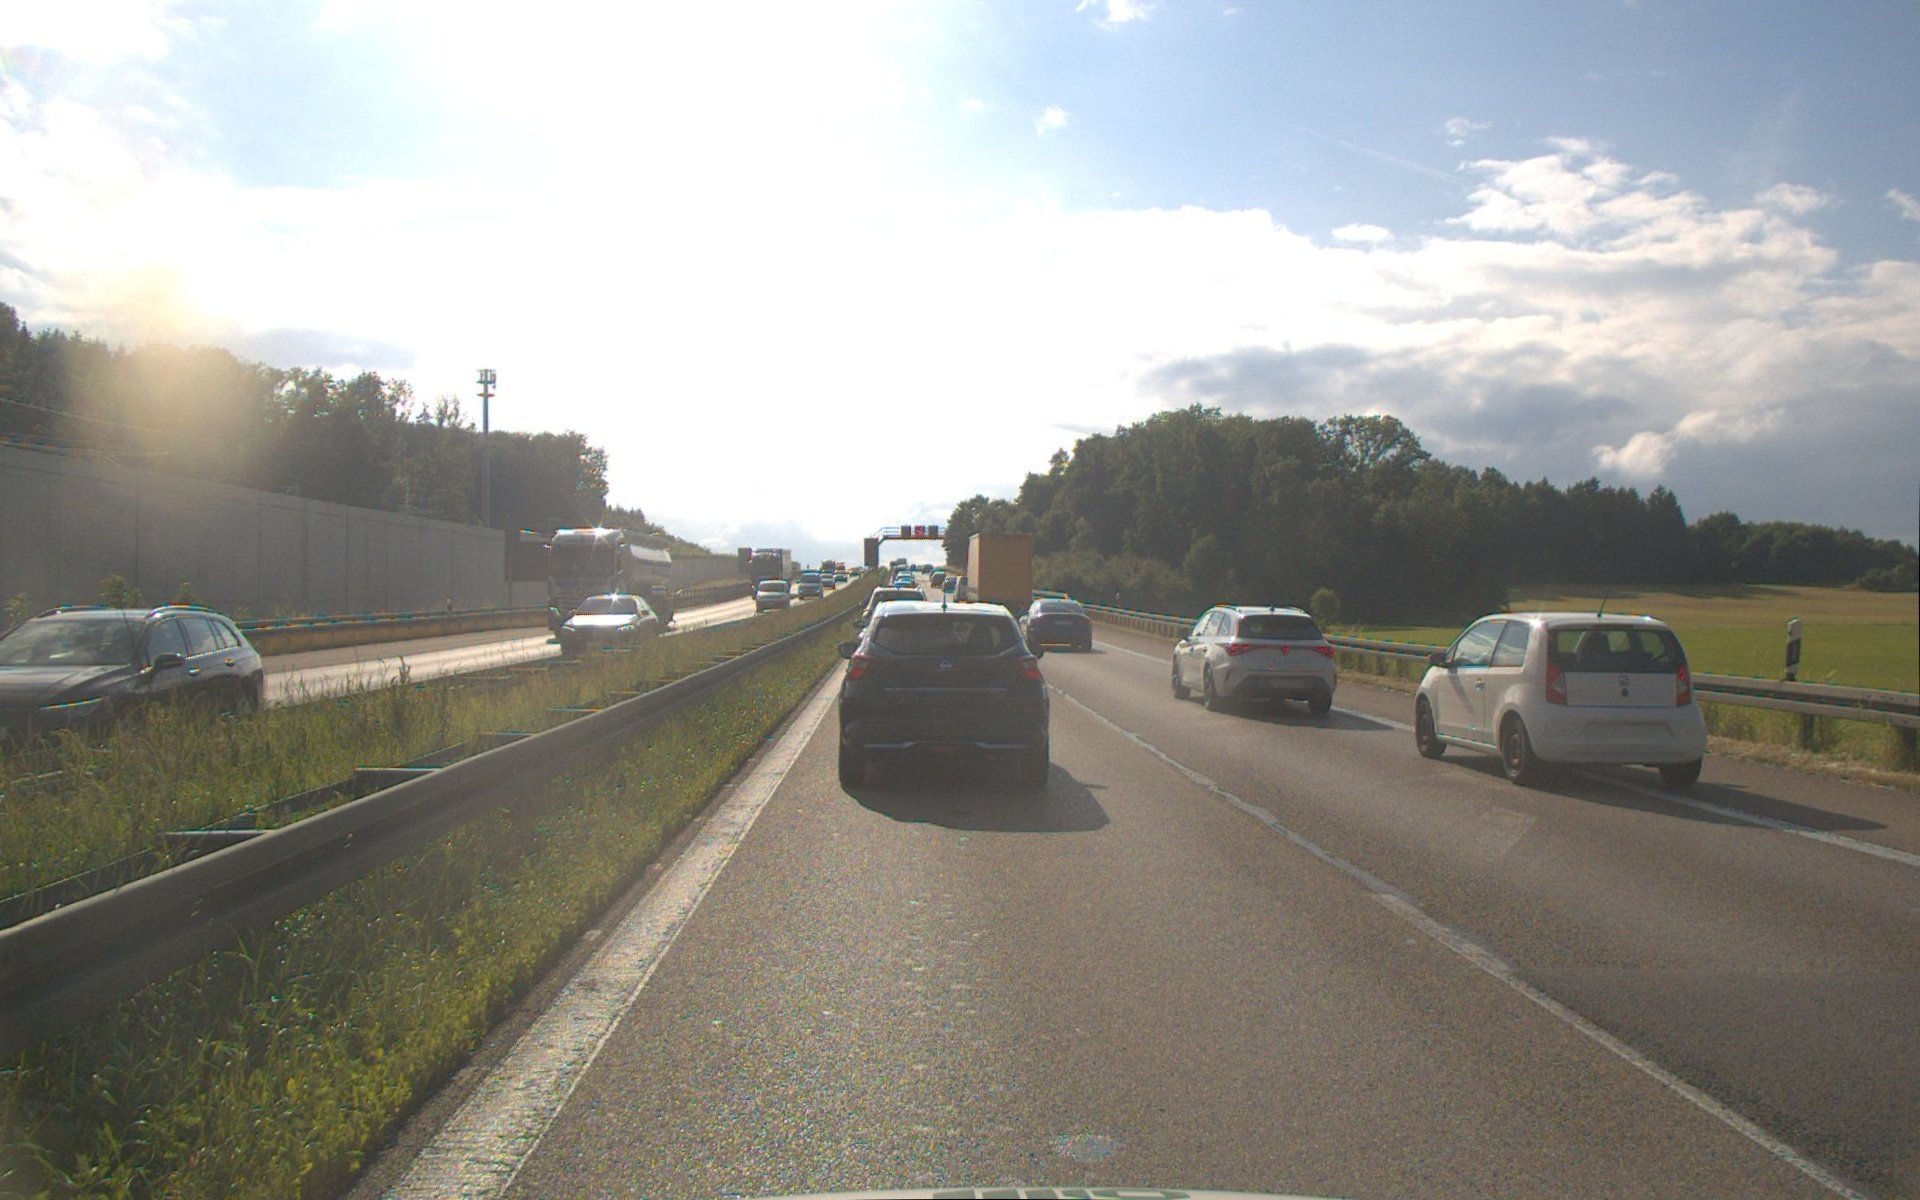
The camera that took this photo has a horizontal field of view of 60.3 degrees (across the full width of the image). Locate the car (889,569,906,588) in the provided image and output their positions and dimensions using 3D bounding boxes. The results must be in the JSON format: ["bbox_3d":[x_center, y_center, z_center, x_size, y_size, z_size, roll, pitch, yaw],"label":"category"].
[{"bbox_3d":[-7.402,-2.515,195.207,1.954,2.049,3.998,1,0,-3],"label":"car"}]

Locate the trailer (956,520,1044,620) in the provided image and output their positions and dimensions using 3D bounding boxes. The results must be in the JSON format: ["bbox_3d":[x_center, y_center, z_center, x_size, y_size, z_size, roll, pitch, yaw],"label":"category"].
[{"bbox_3d":[1.830,-1.321,82.163,3.477,4.535,12.715,1,0,-2],"label":"trailer"}]

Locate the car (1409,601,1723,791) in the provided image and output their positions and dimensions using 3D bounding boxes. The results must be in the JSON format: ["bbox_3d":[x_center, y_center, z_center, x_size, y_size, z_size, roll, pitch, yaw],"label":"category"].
[{"bbox_3d":[5.496,0.802,15.429,1.518,1.521,3.376,1,0,-3],"label":"car"}]

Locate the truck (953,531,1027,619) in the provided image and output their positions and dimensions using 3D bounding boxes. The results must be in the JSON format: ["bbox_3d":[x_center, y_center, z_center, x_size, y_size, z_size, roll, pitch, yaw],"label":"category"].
[{"bbox_3d":[1.541,-1.262,88.911,3.510,4.456,6.684,1,-1,-3],"label":"truck"}]

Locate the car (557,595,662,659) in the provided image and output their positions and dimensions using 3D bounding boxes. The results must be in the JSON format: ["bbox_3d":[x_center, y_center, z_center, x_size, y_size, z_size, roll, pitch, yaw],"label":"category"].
[{"bbox_3d":[-8.999,0.680,42.841,1.766,1.543,4.689,1,0,-1],"label":"car"}]

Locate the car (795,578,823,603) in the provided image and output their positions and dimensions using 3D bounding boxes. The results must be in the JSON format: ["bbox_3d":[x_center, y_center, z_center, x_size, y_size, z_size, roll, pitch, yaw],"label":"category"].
[{"bbox_3d":[-12.068,-0.746,132.406,1.953,1.916,4.785,-2,0,-2],"label":"car"}]

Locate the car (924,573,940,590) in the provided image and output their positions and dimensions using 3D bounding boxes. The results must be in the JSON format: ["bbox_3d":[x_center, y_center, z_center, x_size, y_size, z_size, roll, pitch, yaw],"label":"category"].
[{"bbox_3d":[-3.558,-2.398,210.514,1.954,2.049,3.998,1,0,-3],"label":"car"}]

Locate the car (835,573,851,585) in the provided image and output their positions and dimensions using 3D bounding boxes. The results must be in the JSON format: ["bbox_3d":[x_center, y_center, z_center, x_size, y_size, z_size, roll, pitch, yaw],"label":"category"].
[{"bbox_3d":[-14.799,-2.637,209.984,1.864,1.490,4.181,1,0,-2],"label":"car"}]

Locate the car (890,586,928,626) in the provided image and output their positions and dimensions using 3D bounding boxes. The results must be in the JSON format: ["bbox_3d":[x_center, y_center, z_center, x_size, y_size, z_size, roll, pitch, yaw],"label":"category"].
[{"bbox_3d":[-2.752,0.323,88.788,1.954,2.049,3.998,1,0,-3],"label":"car"}]

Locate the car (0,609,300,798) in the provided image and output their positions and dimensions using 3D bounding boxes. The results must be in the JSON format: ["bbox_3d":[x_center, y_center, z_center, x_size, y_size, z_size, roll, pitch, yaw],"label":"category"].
[{"bbox_3d":[-8.120,0.863,15.720,1.953,1.512,4.397,1,0,-1],"label":"car"}]

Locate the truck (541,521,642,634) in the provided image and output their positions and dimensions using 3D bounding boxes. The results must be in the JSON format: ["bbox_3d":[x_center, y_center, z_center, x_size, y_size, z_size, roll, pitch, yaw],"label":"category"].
[{"bbox_3d":[-13.324,-0.754,60.177,2.501,3.865,5.415,-1,0,-1],"label":"truck"}]

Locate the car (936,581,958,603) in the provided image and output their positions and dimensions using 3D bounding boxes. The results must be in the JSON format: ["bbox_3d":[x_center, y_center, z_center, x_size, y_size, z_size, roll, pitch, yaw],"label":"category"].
[{"bbox_3d":[-1.234,-0.778,157.771,1.954,2.049,3.998,1,0,-3],"label":"car"}]

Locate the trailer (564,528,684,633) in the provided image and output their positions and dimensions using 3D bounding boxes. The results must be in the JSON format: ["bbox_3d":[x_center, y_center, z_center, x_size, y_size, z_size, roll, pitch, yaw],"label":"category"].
[{"bbox_3d":[-13.490,-0.679,67.514,2.489,3.837,12.537,-1,0,-1],"label":"trailer"}]

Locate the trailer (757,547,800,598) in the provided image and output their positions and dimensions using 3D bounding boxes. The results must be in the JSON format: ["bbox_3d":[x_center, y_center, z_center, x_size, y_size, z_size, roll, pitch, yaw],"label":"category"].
[{"bbox_3d":[-15.945,-2.302,146.039,2.704,4.187,12.899,0,0,-2],"label":"trailer"}]

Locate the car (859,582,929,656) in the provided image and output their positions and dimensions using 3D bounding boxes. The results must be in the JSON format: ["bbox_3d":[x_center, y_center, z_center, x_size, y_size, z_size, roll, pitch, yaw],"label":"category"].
[{"bbox_3d":[-1.627,0.480,41.664,1.640,1.756,3.595,1,-1,-1],"label":"car"}]

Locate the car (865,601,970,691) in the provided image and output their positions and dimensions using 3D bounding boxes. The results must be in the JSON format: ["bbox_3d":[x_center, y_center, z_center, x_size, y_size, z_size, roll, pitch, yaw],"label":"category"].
[{"bbox_3d":[-0.694,0.733,27.790,1.640,1.391,3.595,1,-1,-1],"label":"car"}]

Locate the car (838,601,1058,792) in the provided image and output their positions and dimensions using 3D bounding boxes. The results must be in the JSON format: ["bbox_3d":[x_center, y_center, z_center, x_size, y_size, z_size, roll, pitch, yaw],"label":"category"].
[{"bbox_3d":[-0.103,0.759,14.441,1.675,1.451,3.377,1,-1,0],"label":"car"}]

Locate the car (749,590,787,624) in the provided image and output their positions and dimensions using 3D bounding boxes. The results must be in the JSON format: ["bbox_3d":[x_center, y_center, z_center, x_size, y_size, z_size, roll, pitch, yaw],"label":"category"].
[{"bbox_3d":[-11.178,0.407,96.456,1.822,1.866,4.279,1,0,-1],"label":"car"}]

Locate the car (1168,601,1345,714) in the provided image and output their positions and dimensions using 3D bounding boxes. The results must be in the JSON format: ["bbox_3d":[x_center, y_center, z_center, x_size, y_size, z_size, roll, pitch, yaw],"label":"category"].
[{"bbox_3d":[4.184,0.780,23.953,1.588,1.471,4.144,1,-1,-3],"label":"car"}]

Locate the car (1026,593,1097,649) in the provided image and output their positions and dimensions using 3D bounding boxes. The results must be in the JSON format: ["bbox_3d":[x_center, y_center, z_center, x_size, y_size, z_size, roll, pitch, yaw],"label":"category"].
[{"bbox_3d":[2.847,0.585,47.117,1.711,1.501,4.146,1,-1,-1],"label":"car"}]

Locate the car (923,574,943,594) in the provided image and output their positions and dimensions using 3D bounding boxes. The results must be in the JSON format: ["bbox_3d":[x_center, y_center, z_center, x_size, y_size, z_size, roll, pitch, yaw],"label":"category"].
[{"bbox_3d":[-2.867,-1.654,176.922,1.954,2.049,3.998,1,0,-3],"label":"car"}]

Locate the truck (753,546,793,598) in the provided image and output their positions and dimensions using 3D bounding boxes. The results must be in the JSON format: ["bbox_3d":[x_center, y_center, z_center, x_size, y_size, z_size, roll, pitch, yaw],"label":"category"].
[{"bbox_3d":[-15.696,-2.286,139.210,2.698,4.162,6.950,0,0,-2],"label":"truck"}]

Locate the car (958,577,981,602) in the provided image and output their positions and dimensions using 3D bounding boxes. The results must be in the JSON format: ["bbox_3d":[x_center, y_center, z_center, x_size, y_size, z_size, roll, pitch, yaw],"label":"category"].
[{"bbox_3d":[0.694,-0.745,121.095,1.633,1.785,3.326,1,0,0],"label":"car"}]
